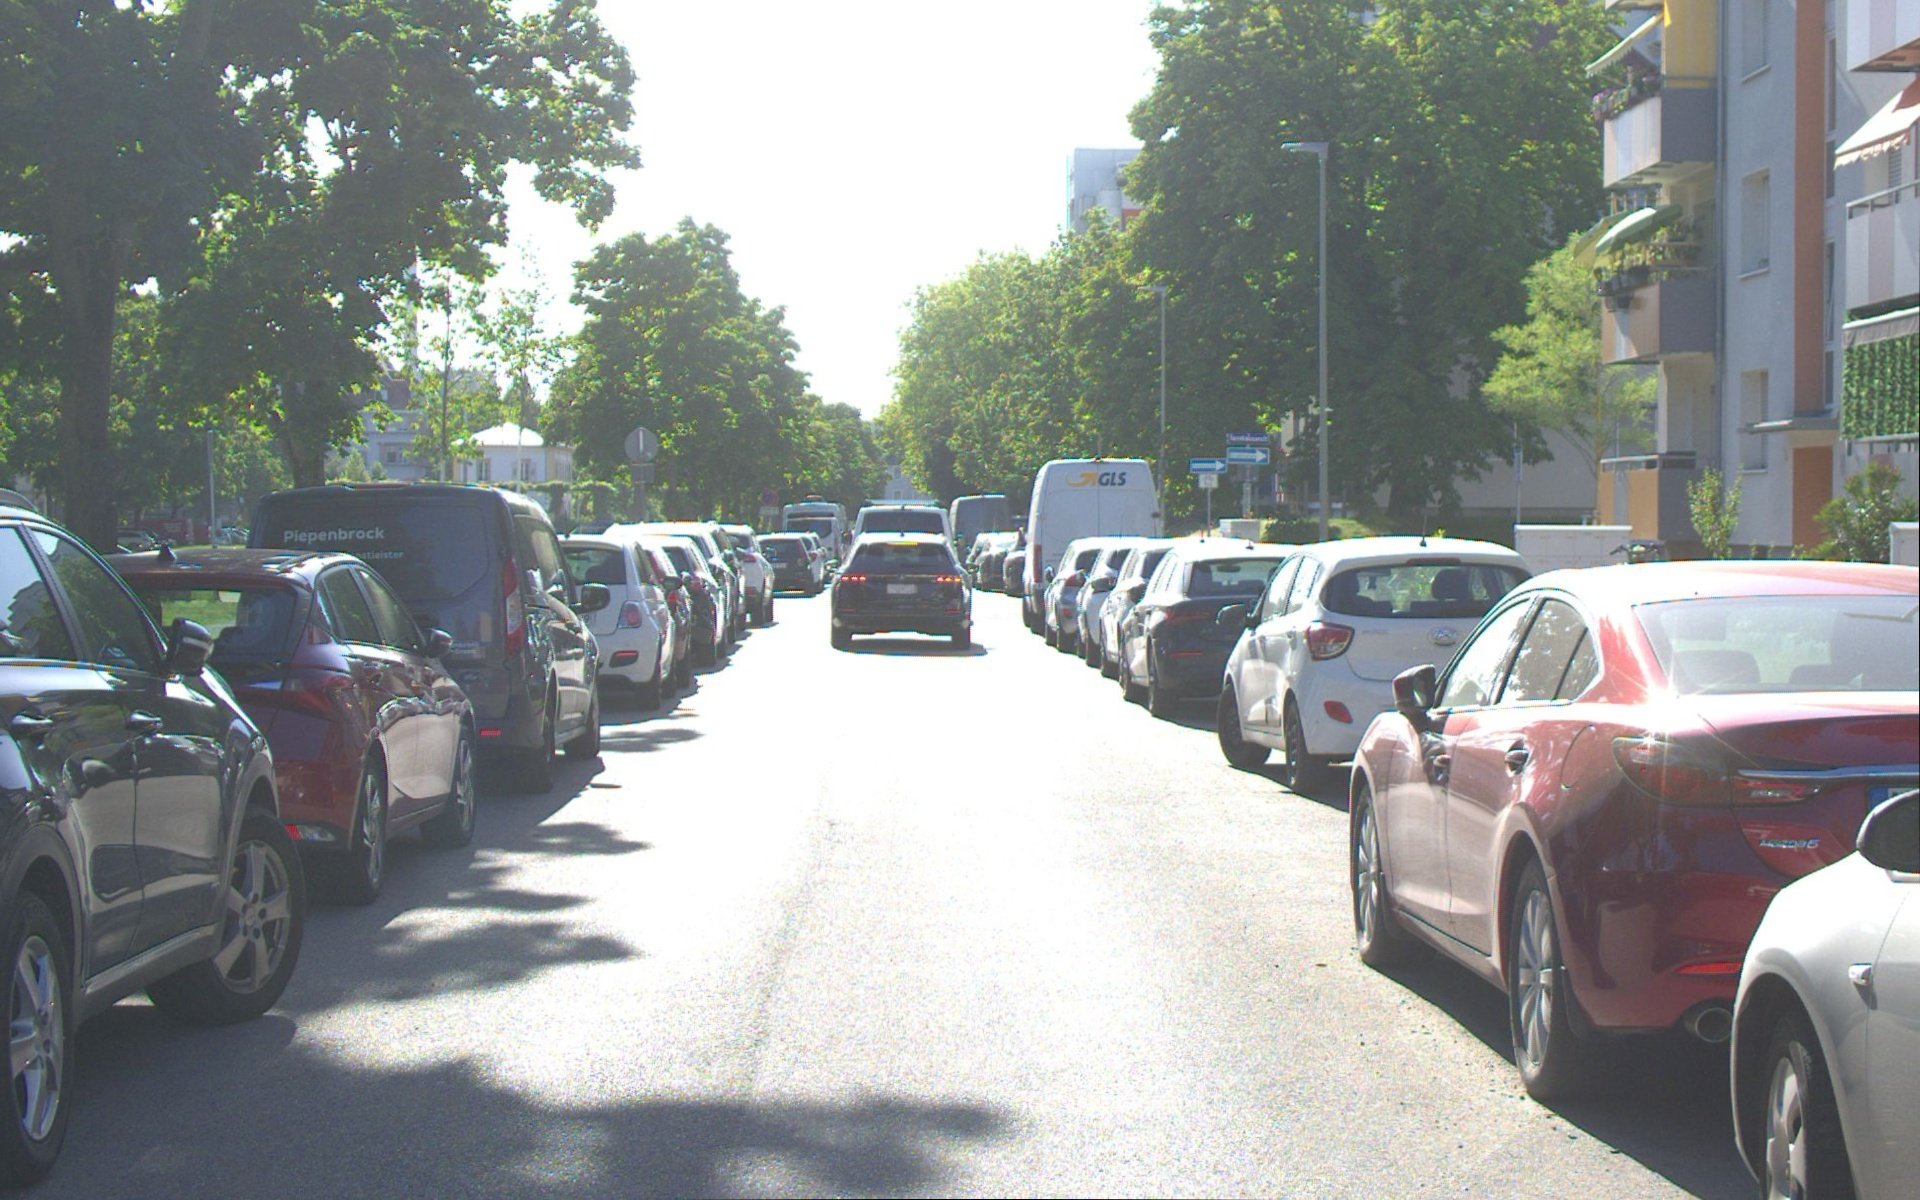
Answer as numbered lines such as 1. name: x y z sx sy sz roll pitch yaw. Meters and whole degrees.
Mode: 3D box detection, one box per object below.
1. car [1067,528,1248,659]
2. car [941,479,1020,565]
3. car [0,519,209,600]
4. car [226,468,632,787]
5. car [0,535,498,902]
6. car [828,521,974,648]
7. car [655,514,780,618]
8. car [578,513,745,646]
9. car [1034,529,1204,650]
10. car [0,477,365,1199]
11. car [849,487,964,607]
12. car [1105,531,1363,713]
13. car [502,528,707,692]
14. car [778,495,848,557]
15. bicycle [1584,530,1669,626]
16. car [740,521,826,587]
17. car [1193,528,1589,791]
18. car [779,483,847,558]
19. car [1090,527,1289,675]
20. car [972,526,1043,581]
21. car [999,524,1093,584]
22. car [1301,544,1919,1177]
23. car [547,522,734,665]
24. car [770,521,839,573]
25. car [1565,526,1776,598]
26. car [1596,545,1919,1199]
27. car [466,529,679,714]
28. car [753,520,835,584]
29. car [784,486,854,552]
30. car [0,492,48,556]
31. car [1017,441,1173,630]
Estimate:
1. car: 2.305 -0.112 41.054 1.878 1.470 4.140 0 1 -1
2. car: 0.633 -2.523 110.986 2.162 2.680 5.417 0 1 -4
3. car: -16.262 -0.756 63.510 4.333 1.404 1.921 0 3 -25
4. car: -3.191 0.121 21.619 1.864 1.778 4.992 0 1 -1
5. car: -3.129 0.426 15.545 1.538 1.423 4.088 0 1 0
6. car: -0.727 -0.240 44.724 1.779 1.526 4.000 1 1 0
7. car: -4.034 -0.605 57.677 1.756 1.641 4.287 -1 1 0
8. car: -3.851 -0.309 45.072 1.819 1.604 4.739 -1 1 -1
9. car: 2.065 -0.175 45.739 1.849 1.461 4.202 1 2 -2
10. car: -3.051 0.521 9.277 2.026 1.620 4.757 -1 1 0
11. car: -0.895 -0.949 60.131 1.894 1.984 4.010 -1 1 0
12. car: 2.330 0.133 30.248 1.699 1.430 4.472 -1 1 -2
13. car: -3.536 0.046 34.879 1.755 1.487 4.669 -1 1 -2
14. car: -4.701 -2.385 110.423 2.098 1.936 4.127 0 1 -1
15. bicycle: 8.278 -0.265 42.761 0.596 1.172 2.014 0 0 -2
16. car: -4.078 -1.062 79.729 1.748 1.420 3.916 -2 1 0
17. car: 2.611 0.300 21.670 1.747 1.494 3.862 0 1 -4
18. car: -4.982 -2.689 116.827 2.098 2.487 4.127 0 1 0
19. car: 2.324 -0.035 35.678 1.721 1.430 4.153 0 1 -1
20. car: 1.210 -1.223 89.466 1.779 1.366 4.127 0 1 0
21. car: 2.059 -1.136 83.518 2.125 1.333 4.506 -2 1 0
22. car: 2.315 0.585 10.738 1.843 1.467 5.066 0 1 -2
23. car: -3.662 -0.125 40.046 1.873 1.514 4.471 -2 1 -2
24. car: -4.596 -1.591 101.970 1.833 1.494 4.127 0 1 0
25. car: 14.418 -0.782 69.895 3.886 1.424 1.659 0 1 -4
26. car: 2.506 0.701 5.354 1.873 1.528 4.494 0 1 -4
27. car: -3.370 0.142 30.436 1.586 1.487 3.686 -1 1 -2
28. car: -4.049 -1.179 84.250 1.777 1.490 3.875 -2 1 0
29. car: -5.792 -3.344 142.272 2.616 2.636 6.114 0 1 0
30. car: -41.383 -3.347 150.263 1.915 2.734 5.626 0 1 -4
31. car: 2.029 -1.027 53.693 2.142 2.703 6.842 -1 1 0
